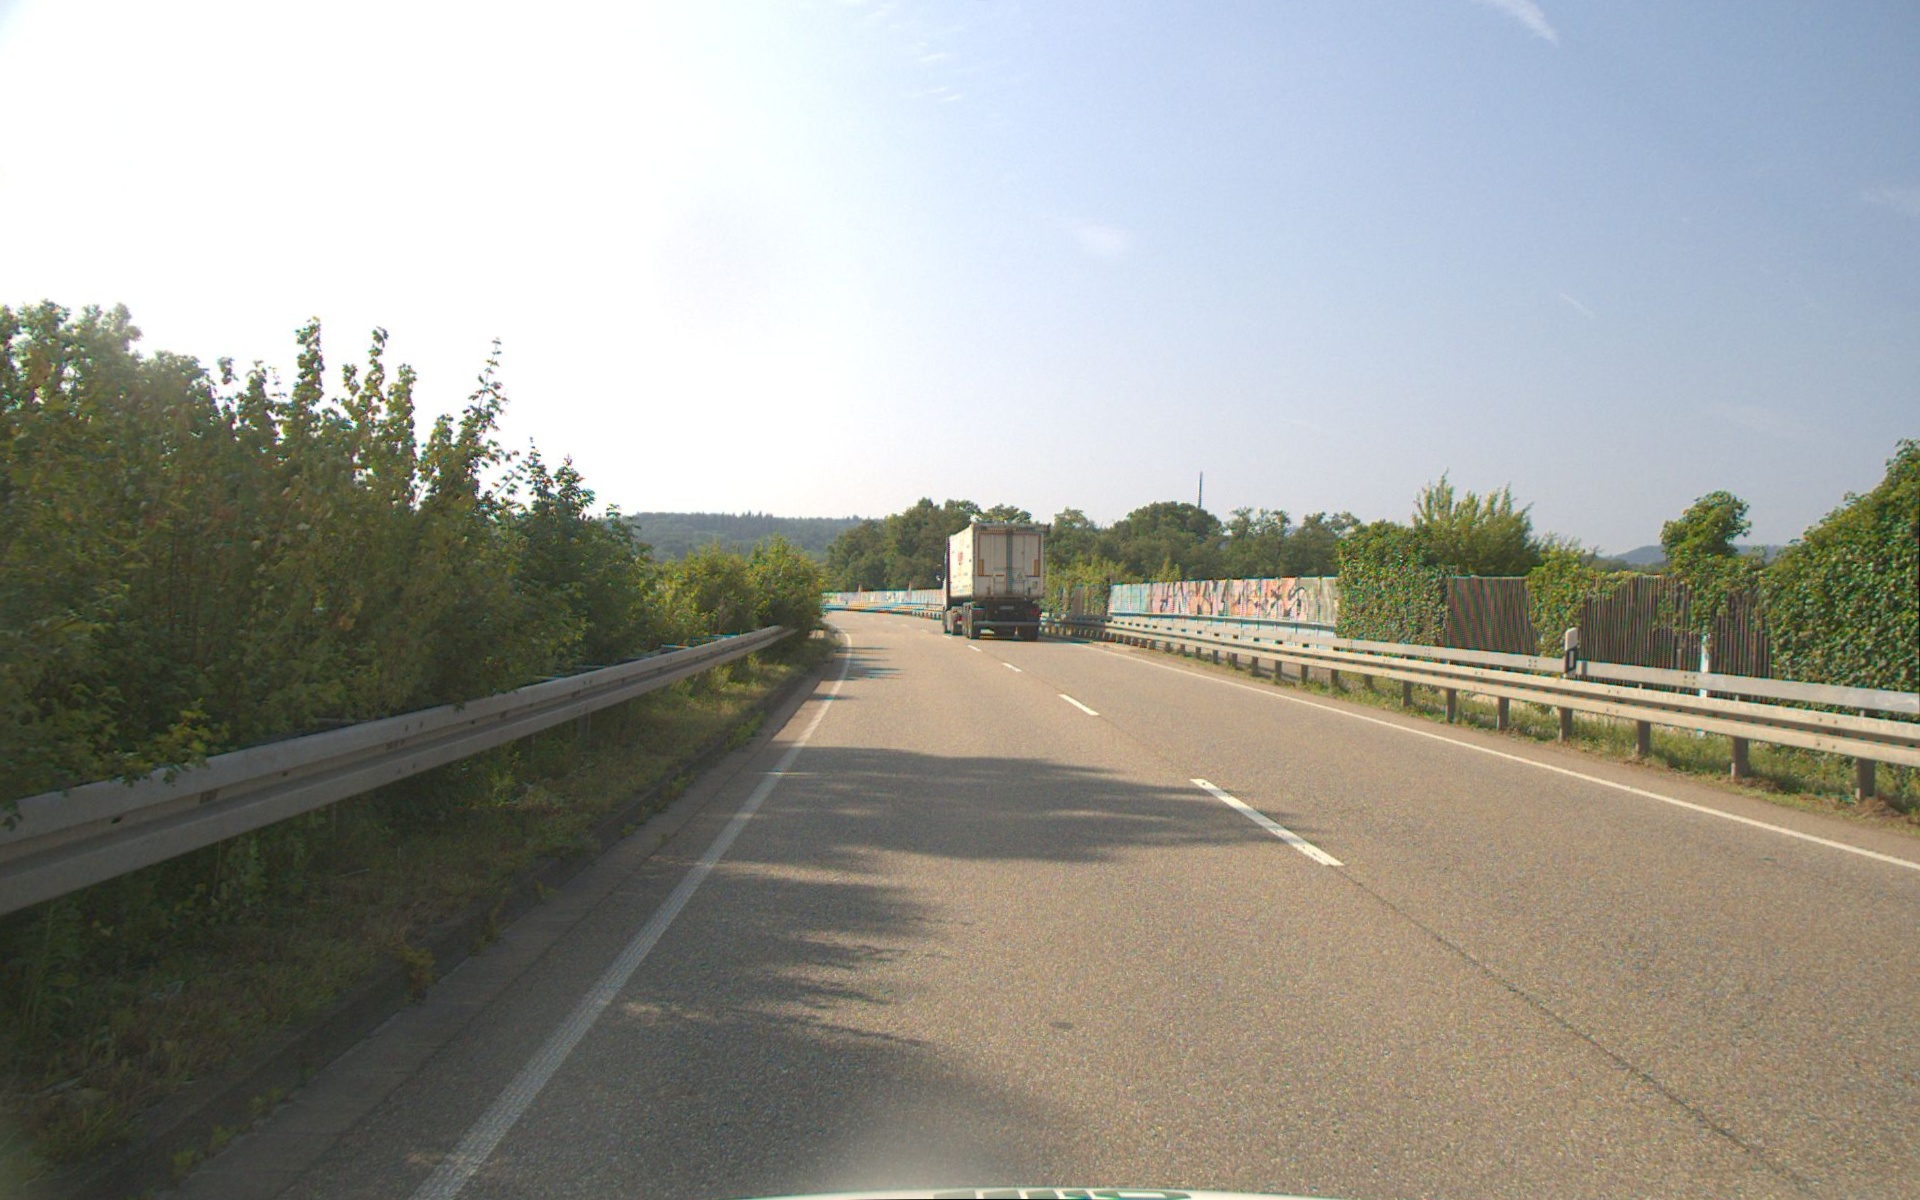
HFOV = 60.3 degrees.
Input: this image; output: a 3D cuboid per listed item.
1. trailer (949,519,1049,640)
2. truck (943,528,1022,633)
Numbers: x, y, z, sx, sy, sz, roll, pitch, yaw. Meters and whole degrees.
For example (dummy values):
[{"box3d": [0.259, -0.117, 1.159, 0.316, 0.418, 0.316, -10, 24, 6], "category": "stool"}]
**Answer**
[{"box3d": [1.271, -0.707, 59.934, 2.627, 3.975, 9.664, 1, 0, -4], "category": "trailer"}, {"box3d": [0.831, -0.731, 65.808, 2.606, 3.964, 5.642, 1, 0, -5], "category": "truck"}]
